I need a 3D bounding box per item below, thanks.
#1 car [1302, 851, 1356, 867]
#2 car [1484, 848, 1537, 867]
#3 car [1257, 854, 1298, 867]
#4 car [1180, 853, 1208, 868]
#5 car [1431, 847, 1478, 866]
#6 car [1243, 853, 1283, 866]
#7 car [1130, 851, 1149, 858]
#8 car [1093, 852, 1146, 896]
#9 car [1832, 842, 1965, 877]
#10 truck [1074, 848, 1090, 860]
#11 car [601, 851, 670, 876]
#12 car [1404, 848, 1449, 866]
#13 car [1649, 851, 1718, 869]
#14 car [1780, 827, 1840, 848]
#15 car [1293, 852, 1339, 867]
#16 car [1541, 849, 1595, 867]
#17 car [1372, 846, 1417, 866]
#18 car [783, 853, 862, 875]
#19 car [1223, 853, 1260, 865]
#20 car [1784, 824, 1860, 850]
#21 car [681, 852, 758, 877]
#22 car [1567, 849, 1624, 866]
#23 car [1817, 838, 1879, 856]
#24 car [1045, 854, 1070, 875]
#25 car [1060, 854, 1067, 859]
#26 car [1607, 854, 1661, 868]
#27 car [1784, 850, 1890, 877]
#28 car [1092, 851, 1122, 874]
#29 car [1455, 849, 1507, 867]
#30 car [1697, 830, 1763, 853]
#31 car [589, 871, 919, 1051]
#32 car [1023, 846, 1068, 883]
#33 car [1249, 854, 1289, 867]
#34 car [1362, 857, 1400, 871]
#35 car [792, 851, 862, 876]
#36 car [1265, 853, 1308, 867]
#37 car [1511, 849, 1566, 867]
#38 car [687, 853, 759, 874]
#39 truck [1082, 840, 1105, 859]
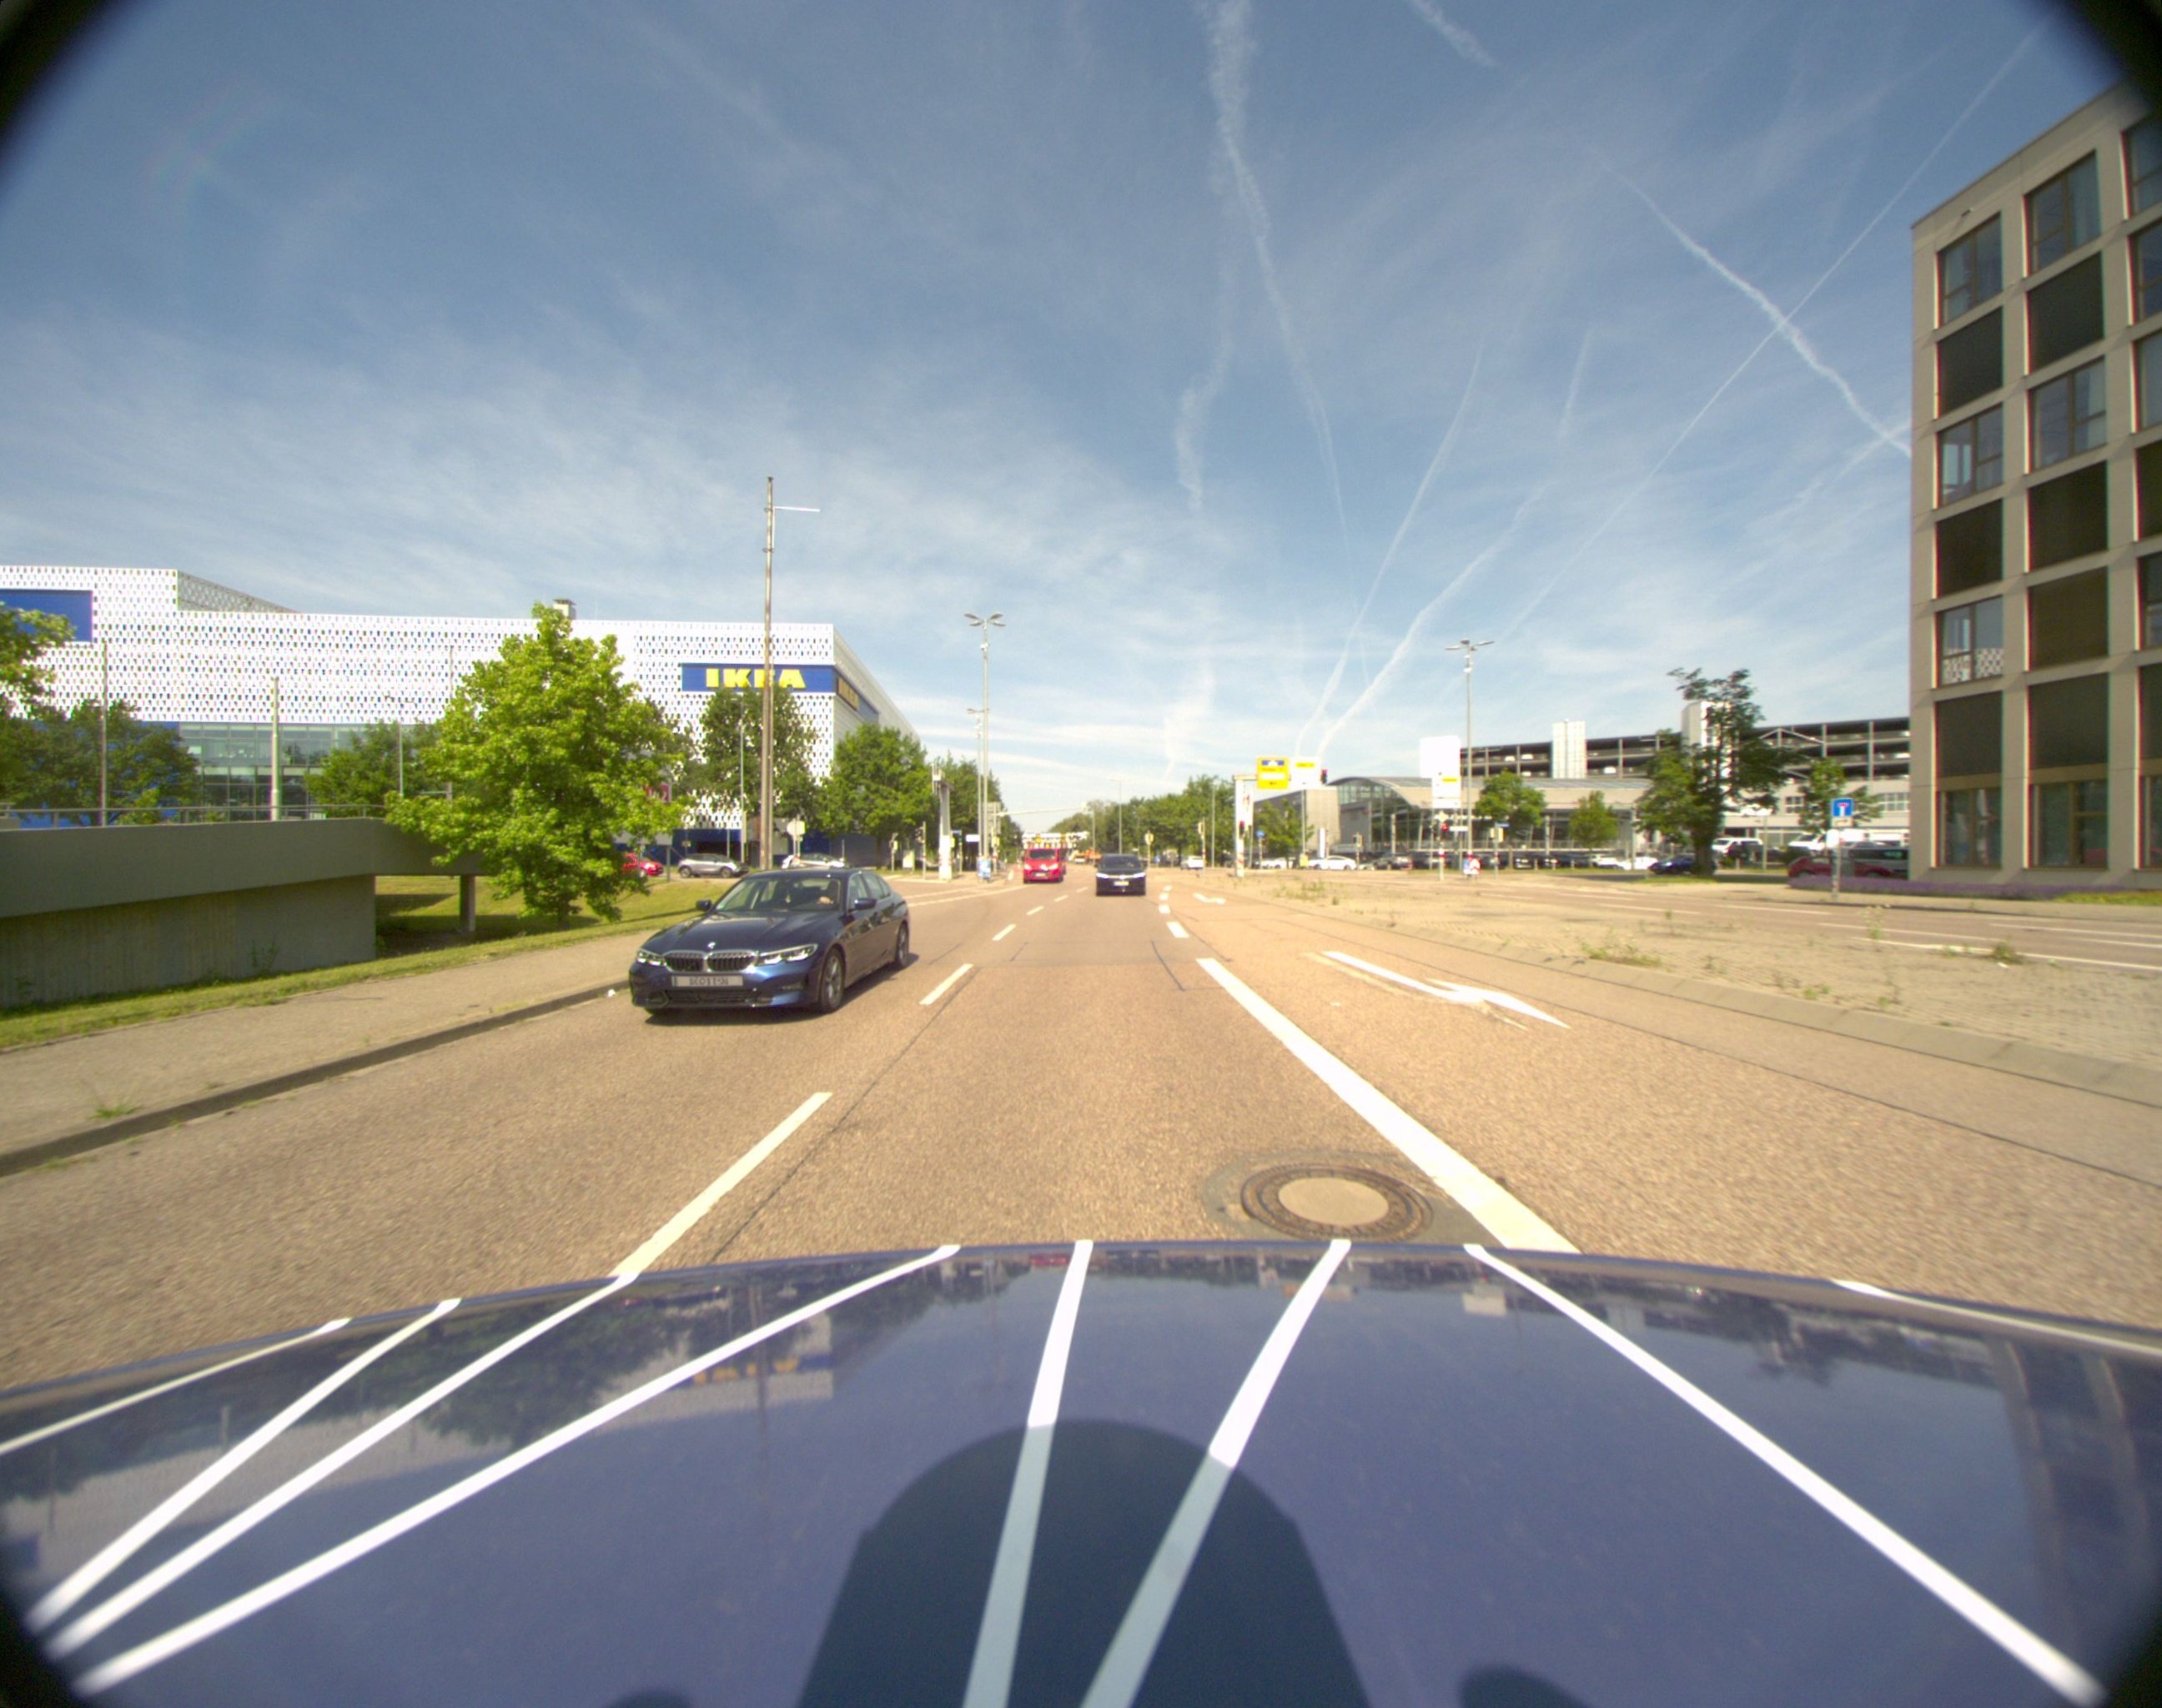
[{"bbox_3d":[23.223,0.475,71.294,4.385,1.424,1.899,0,0,-3],"label":"car"},{"bbox_3d":[38.650,0.357,68.544,1.783,1.507,4.674,0,-2,-5],"label":"car"},{"bbox_3d":[21.780,0.733,84.334,3.999,1.311,1.868,2,0,-5],"label":"car"},{"bbox_3d":[11.762,0.643,79.356,1.787,1.452,4.331,1,0,-7],"label":"car"},{"bbox_3d":[33.290,0.235,67.864,1.793,1.534,4.375,0,-2,-5],"label":"car"},{"bbox_3d":[21.439,0.684,89.751,4.187,1.327,1.854,2,0,-5],"label":"car"},{"bbox_3d":[14.207,0.194,184.209,4.198,1.490,1.689,2,0,-4],"label":"car"},{"bbox_3d":[1.404,0.714,29.122,1.847,1.530,4.000,-1,0,0],"label":"car"},{"bbox_3d":[44.689,0.301,41.718,4.800,1.810,1.902,-1,0,42],"label":"car"},{"bbox_3d":[0.230,-0.061,170.204,2.383,2.609,6.667,-1,0,-10],"label":"truck"},{"bbox_3d":[-28.539,0.585,48.752,3.479,1.566,1.598,0,0,0],"label":"car"},{"bbox_3d":[30.507,0.279,67.260,1.793,1.433,4.200,0,-2,-5],"label":"car"},{"bbox_3d":[44.737,0.420,56.469,3.801,1.282,1.660,0,1,1],"label":"car"},{"bbox_3d":[79.840,-1.759,83.276,4.688,2.265,2.158,0,0,-4],"label":"car"},{"bbox_3d":[22.768,0.540,73.757,3.846,1.394,1.763,0,0,-6],"label":"car"},{"bbox_3d":[43.998,0.385,68.771,1.793,1.433,4.401,0,-2,-5],"label":"car"},{"bbox_3d":[27.785,0.229,67.588,1.819,1.603,4.595,0,-3,-4],"label":"car"},{"bbox_3d":[-17.494,0.639,51.579,4.729,1.417,1.958,0,1,-1],"label":"car"},{"bbox_3d":[20.675,0.611,98.100,4.228,1.386,1.801,2,0,-5],"label":"car"},{"bbox_3d":[71.847,-1.612,73.753,5.549,2.329,2.088,-1,0,-4],"label":"car"},{"bbox_3d":[-23.151,0.665,48.761,4.039,1.500,1.908,0,1,-2],"label":"car"},{"bbox_3d":[46.701,0.351,69.086,1.793,1.433,4.558,0,-2,-5],"label":"car"},{"bbox_3d":[71.970,-0.623,71.309,3.984,1.565,1.999,-2,0,-4],"label":"car"},{"bbox_3d":[-1.756,0.761,56.086,1.692,1.414,3.915,-2,0,-2],"label":"car"},{"bbox_3d":[-5.445,0.642,233.984,1.852,1.451,4.661,2,0,-6],"label":"car"},{"bbox_3d":[54.762,0.672,75.300,4.017,1.433,1.801,0,0,24],"label":"car"},{"bbox_3d":[41.010,0.526,41.331,4.019,1.407,1.812,-1,-1,43],"label":"car"},{"bbox_3d":[1.737,0.569,51.897,1.560,1.500,3.837,-2,0,-5],"label":"car"},{"bbox_3d":[35.816,0.384,68.249,1.793,1.496,4.777,0,-2,-5],"label":"car"},{"bbox_3d":[60.701,-1.183,71.084,4.546,1.898,2.086,-1,4,-7],"label":"car"},{"bbox_3d":[-3.301,0.973,8.805,1.800,1.420,4.538,-1,0,1],"label":"car"},{"bbox_3d":[-1.877,0.540,42.066,2.013,1.896,4.811,-1,0,3],"label":"car"},{"bbox_3d":[21.507,0.695,86.890,3.998,1.311,1.837,2,0,-4],"label":"car"},{"bbox_3d":[32.668,1.032,82.779,3.518,1.465,1.659,-1,0,-6],"label":"car"},{"bbox_3d":[-16.192,0.580,48.577,3.894,1.549,1.808,-1,0,0],"label":"car"},{"bbox_3d":[22.064,0.600,81.721,4.084,1.362,1.877,2,0,-5],"label":"car"},{"bbox_3d":[41.259,0.409,68.629,1.793,1.433,4.631,0,-2,-5],"label":"car"},{"bbox_3d":[-24.353,0.613,51.751,4.055,1.334,1.723,-1,1,-2],"label":"car"},{"bbox_3d":[2.515,-0.828,150.753,2.756,3.658,7.570,0,0,-13],"label":"truck"}]
